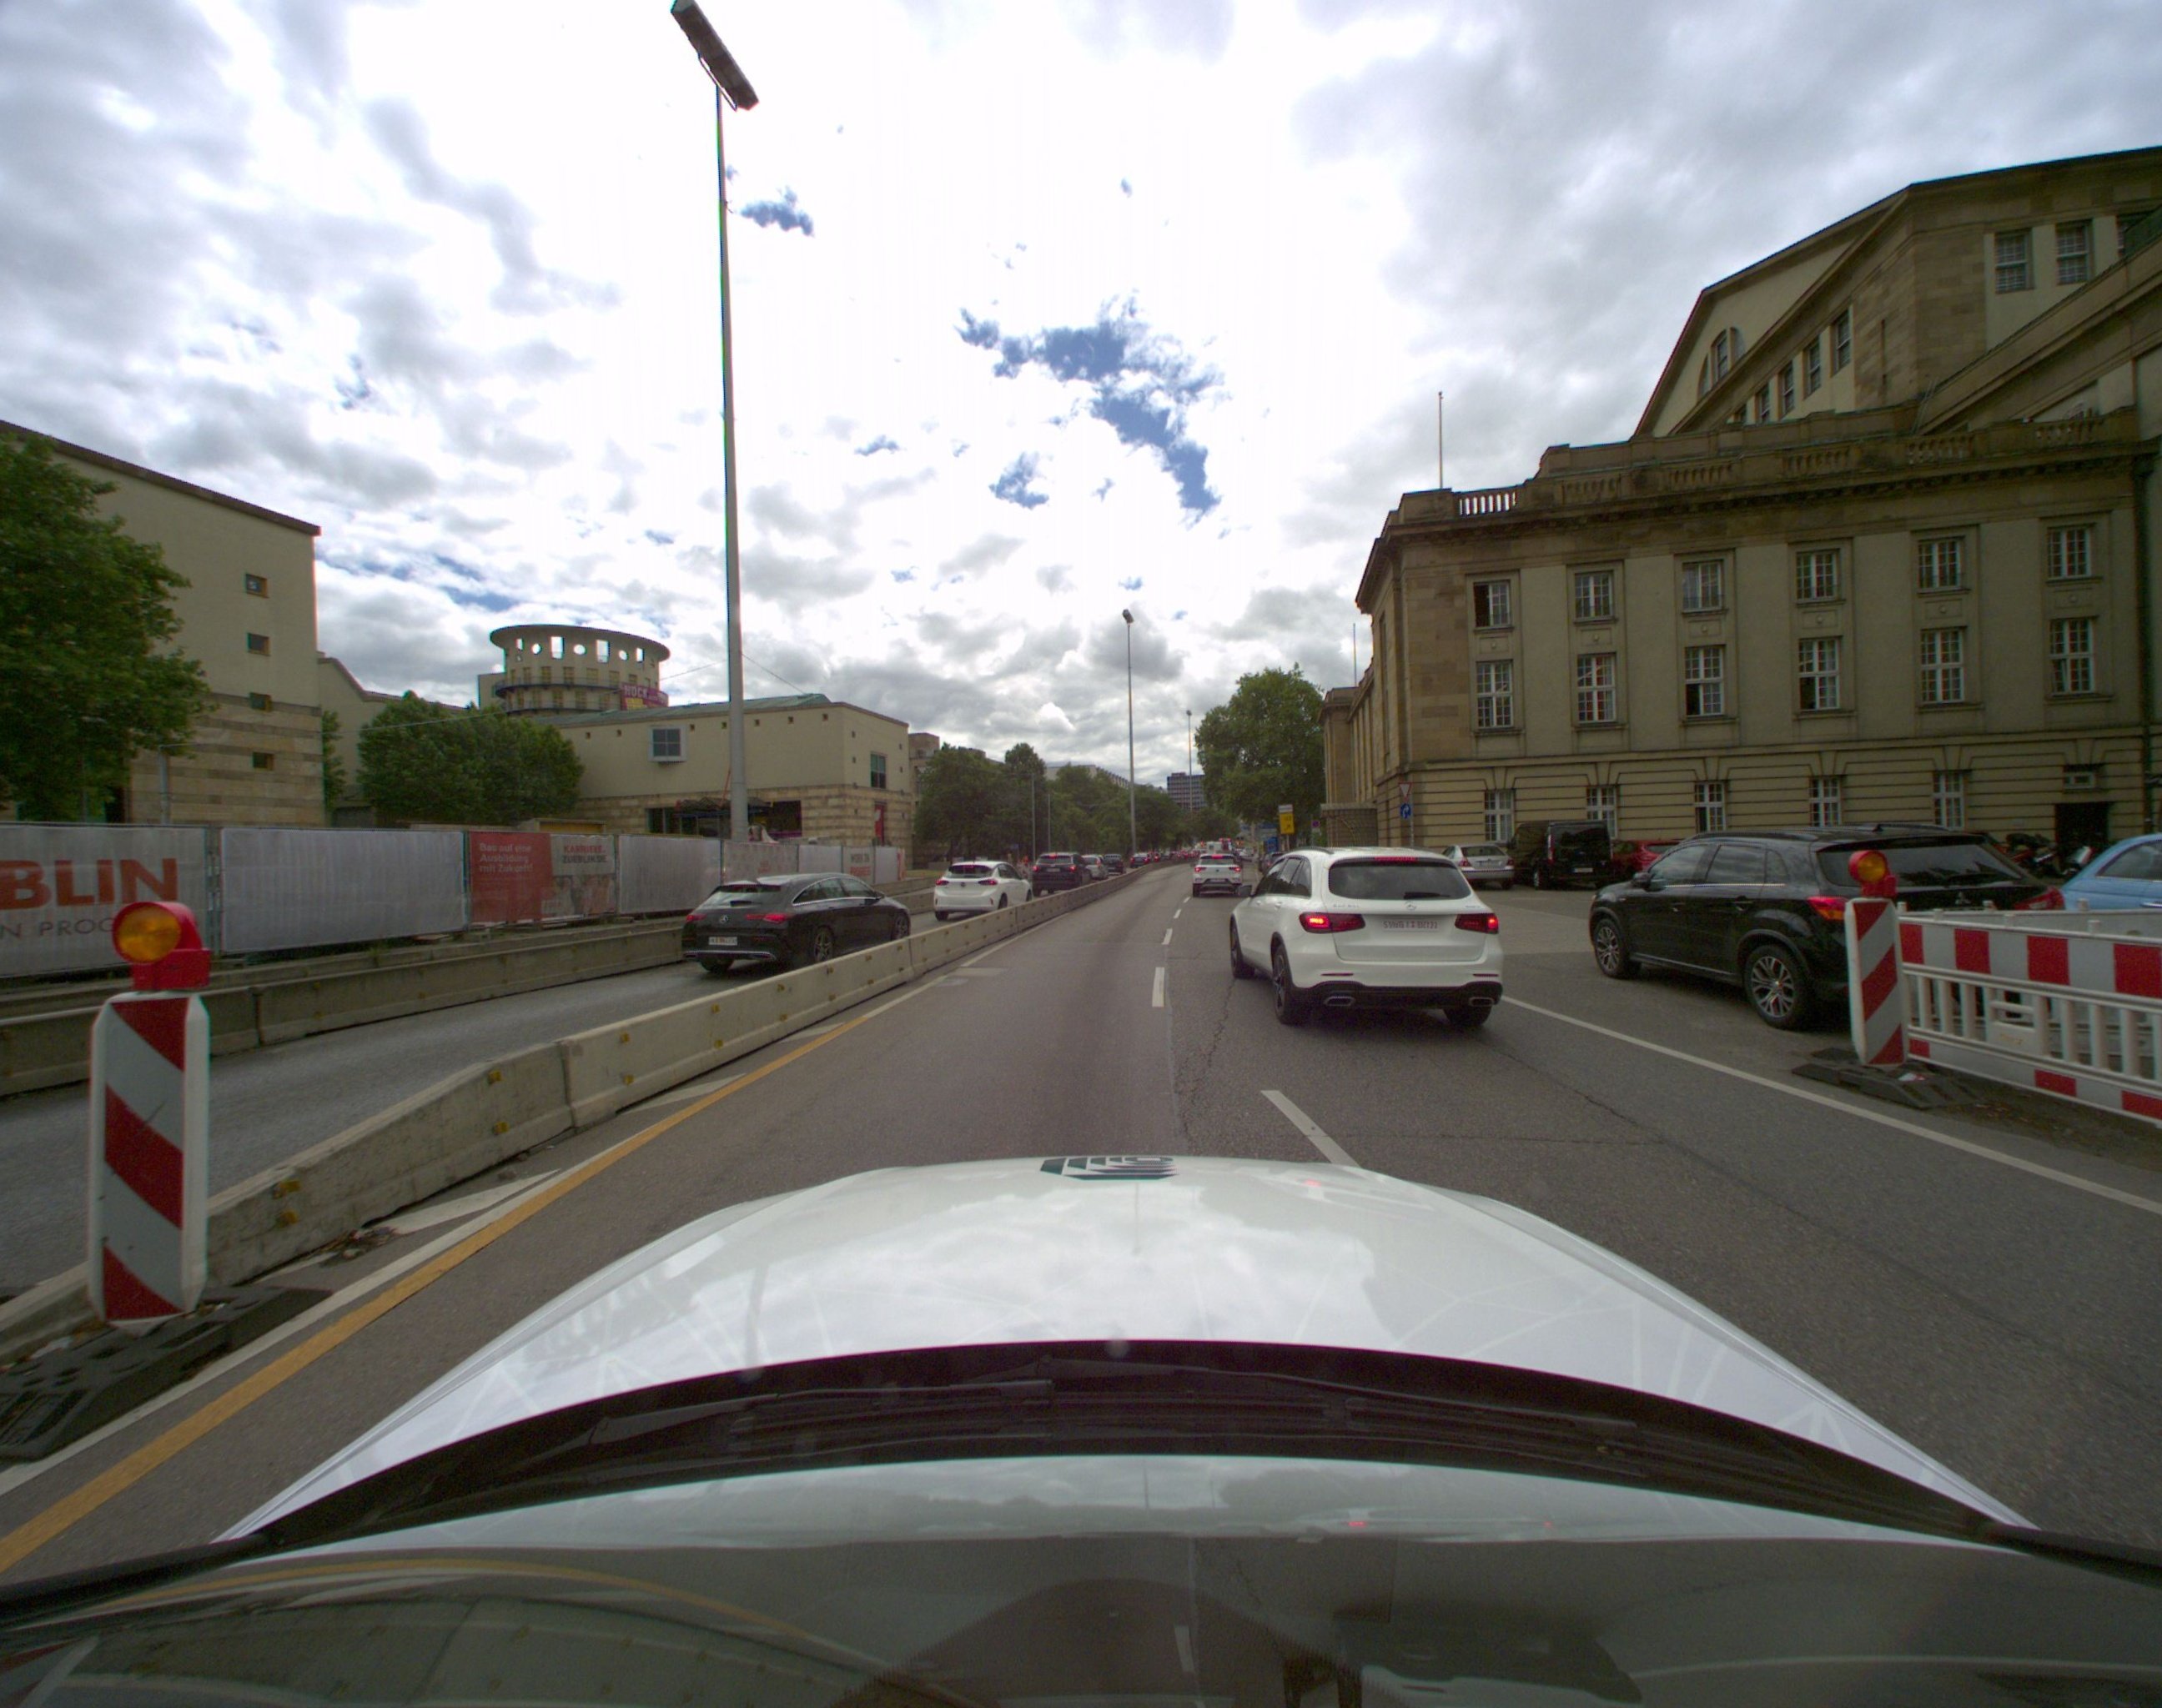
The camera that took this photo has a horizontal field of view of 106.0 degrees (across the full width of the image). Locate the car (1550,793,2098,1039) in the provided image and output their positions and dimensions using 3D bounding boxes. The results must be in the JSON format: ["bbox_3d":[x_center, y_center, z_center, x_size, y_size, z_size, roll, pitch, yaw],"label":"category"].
[{"bbox_3d":[6.596,0.414,8.089,1.795,1.738,4.496,-1,1,8],"label":"car"}]

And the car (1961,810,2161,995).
[{"bbox_3d":[9.738,0.394,6.723,1.570,1.530,3.514,-1,0,10],"label":"car"}]

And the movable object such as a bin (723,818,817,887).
[{"bbox_3d":[-10.508,-0.053,27.768,1.513,2.185,3.300,-1,0,8],"label":"movable object such as a bin"}]

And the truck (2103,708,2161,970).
[{"bbox_3d":[22.193,-0.426,11.344,10.283,4.205,3.009,-2,0,12],"label":"truck"}]

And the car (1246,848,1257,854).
[{"bbox_3d":[36.372,-0.636,173.667,1.933,1.319,4.032,-1,0,14],"label":"car"}]

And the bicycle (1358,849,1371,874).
[{"bbox_3d":[14.785,0.386,42.518,0.409,1.288,1.796,-1,0,13],"label":"bicycle"}]

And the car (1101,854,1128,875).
[{"bbox_3d":[2.370,0.708,57.232,1.651,1.454,4.204,0,0,5],"label":"car"}]

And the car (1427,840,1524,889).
[{"bbox_3d":[12.721,0.285,26.549,1.766,1.469,4.590,-1,1,11],"label":"car"}]

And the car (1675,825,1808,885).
[{"bbox_3d":[19.804,0.000,24.621,1.632,1.669,3.628,-1,1,11],"label":"car"}]

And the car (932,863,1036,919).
[{"bbox_3d":[-2.397,0.888,21.185,1.716,1.296,3.944,0,0,8],"label":"car"}]

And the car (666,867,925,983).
[{"bbox_3d":[-4.195,0.961,12.917,1.842,1.415,4.579,0,0,10],"label":"car"}]

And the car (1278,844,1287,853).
[{"bbox_3d":[46.598,-1.173,188.278,1.979,2.013,4.016,-1,0,14],"label":"car"}]

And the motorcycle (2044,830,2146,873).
[{"bbox_3d":[26.836,-0.077,21.568,1.775,1.092,0.471,1,0,14],"label":"motorcycle"}]

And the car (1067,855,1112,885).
[{"bbox_3d":[0.512,0.810,43.059,1.868,1.481,4.713,0,0,6],"label":"car"}]

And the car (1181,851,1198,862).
[{"bbox_3d":[15.039,0.314,113.064,1.763,1.420,4.017,-1,0,15],"label":"car"}]

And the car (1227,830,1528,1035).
[{"bbox_3d":[2.761,0.632,8.724,1.781,1.625,4.440,0,0,2],"label":"car"}]

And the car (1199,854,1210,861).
[{"bbox_3d":[21.815,0.607,143.975,1.647,1.319,3.561,-1,0,14],"label":"car"}]

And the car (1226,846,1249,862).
[{"bbox_3d":[14.926,0.023,77.877,1.913,1.443,3.975,0,0,8],"label":"car"}]

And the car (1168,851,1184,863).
[{"bbox_3d":[12.257,0.387,105.158,1.650,1.436,3.974,-1,0,13],"label":"car"}]

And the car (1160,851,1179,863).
[{"bbox_3d":[10.412,0.314,95.677,1.666,1.367,4.559,-1,0,13],"label":"car"}]

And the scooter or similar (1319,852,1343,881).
[{"bbox_3d":[11.190,0.574,36.492,0.450,1.253,1.365,-1,-2,-8],"label":"scooter or similar"}]

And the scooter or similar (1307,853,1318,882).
[{"bbox_3d":[10.418,0.603,36.716,0.377,1.261,1.408,-1,0,13],"label":"scooter or similar"}]

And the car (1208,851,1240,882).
[{"bbox_3d":[8.043,0.662,45.672,1.648,1.639,3.558,-1,0,11],"label":"car"}]

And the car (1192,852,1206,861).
[{"bbox_3d":[18.330,0.423,126.013,1.646,1.319,3.563,-1,0,16],"label":"car"}]

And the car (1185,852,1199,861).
[{"bbox_3d":[16.566,0.372,121.488,1.647,1.319,3.562,-1,0,15],"label":"car"}]

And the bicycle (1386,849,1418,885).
[{"bbox_3d":[11.700,0.472,29.703,0.605,1.224,1.968,-4,-1,10],"label":"bicycle"}]

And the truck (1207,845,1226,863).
[{"bbox_3d":[21.714,-0.003,130.024,2.603,2.861,7.103,0,0,13],"label":"truck"}]

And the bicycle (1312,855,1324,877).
[{"bbox_3d":[12.479,0.623,42.926,0.456,1.156,1.837,-1,0,12],"label":"bicycle"}]

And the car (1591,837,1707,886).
[{"bbox_3d":[17.448,0.195,25.205,1.632,1.413,3.629,-1,1,11],"label":"car"}]

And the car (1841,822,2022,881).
[{"bbox_3d":[23.951,-0.084,23.157,1.632,1.534,3.932,-1,1,11],"label":"car"}]

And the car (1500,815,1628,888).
[{"bbox_3d":[15.014,-0.089,25.655,1.935,2.069,4.932,-1,1,11],"label":"car"}]

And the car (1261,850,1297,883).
[{"bbox_3d":[10.322,0.600,42.664,1.536,1.552,3.720,-4,-1,11],"label":"car"}]

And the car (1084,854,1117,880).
[{"bbox_3d":[1.249,0.789,50.517,1.663,1.507,3.862,0,0,8],"label":"car"}]

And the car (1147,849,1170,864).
[{"bbox_3d":[8.129,0.207,85.127,1.803,1.499,4.786,-1,0,13],"label":"car"}]

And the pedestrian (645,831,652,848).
[{"bbox_3d":[-50.371,-1.698,94.871,0.408,2.014,0.603,1,-1,12],"label":"pedestrian"}]

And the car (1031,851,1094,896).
[{"bbox_3d":[-0.630,0.721,31.354,1.766,1.621,4.055,0,0,8],"label":"car"}]

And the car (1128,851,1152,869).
[{"bbox_3d":[5.660,0.542,77.099,1.913,1.636,4.948,0,0,8],"label":"car"}]

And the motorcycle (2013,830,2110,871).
[{"bbox_3d":[27.183,-0.098,22.596,1.775,1.106,0.471,1,0,14],"label":"motorcycle"}]

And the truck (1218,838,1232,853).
[{"bbox_3d":[30.585,-1.826,172.950,2.673,2.992,5.657,1,0,12],"label":"truck"}]

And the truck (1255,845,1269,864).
[{"bbox_3d":[39.502,0.047,177.965,2.858,4.103,6.660,0,0,12],"label":"truck"}]

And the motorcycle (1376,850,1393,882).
[{"bbox_3d":[12.303,0.485,33.059,0.451,1.242,1.931,-3,-1,16],"label":"motorcycle"}]

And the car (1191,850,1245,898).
[{"bbox_3d":[5.030,0.699,30.115,1.785,1.608,3.764,-2,0,9],"label":"car"}]
